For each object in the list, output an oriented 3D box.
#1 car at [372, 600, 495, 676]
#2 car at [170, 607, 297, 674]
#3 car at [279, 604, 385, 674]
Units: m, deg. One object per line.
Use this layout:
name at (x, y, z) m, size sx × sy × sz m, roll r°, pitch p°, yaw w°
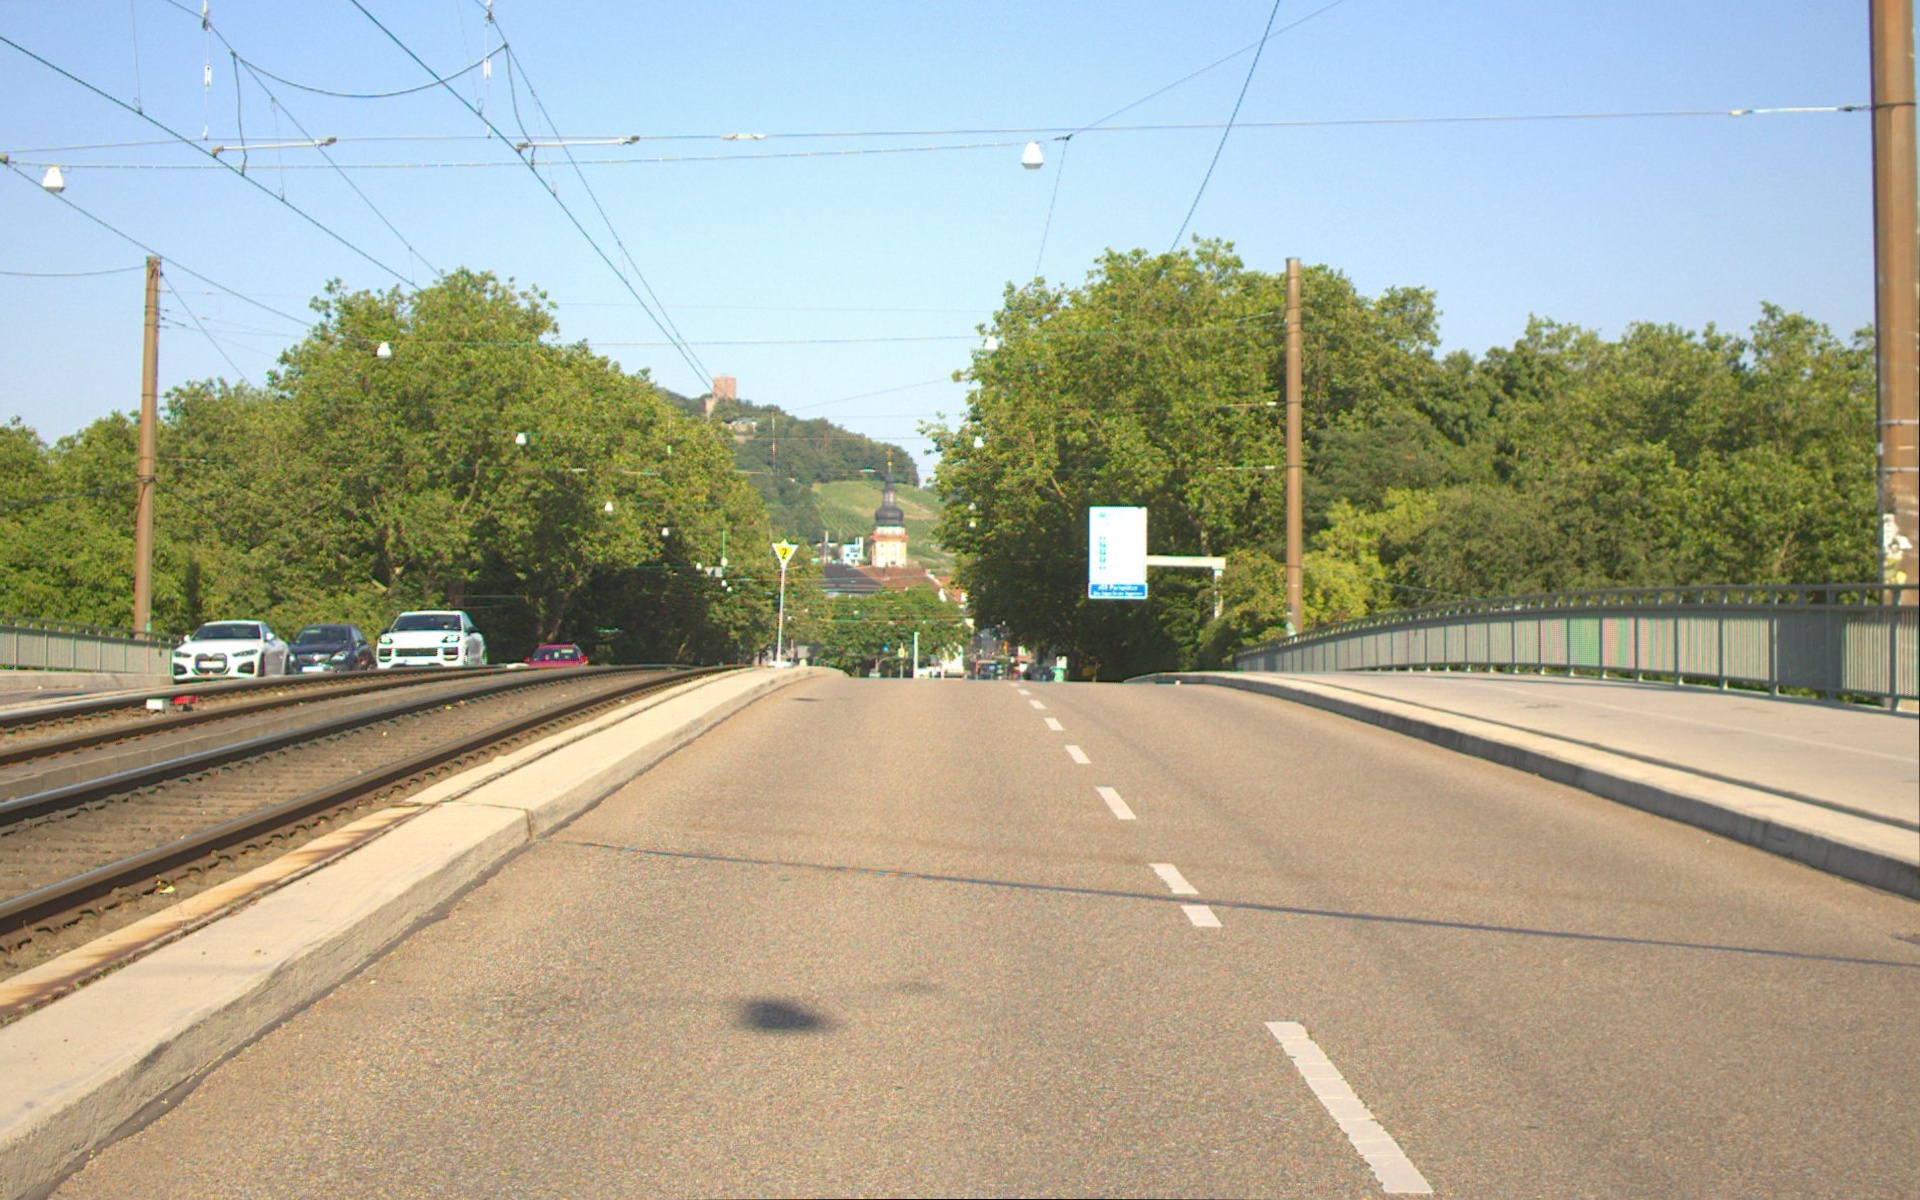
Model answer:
car at (-11.816, 0.836, 77.471) m, size 2.001 × 1.631 × 5.090 m, roll 1°, pitch 0°, yaw 0°
car at (-15.336, 0.839, 72.788) m, size 1.684 × 1.352 × 4.920 m, roll 1°, pitch 0°, yaw 0°
car at (-15.354, 0.941, 84.233) m, size 1.779 × 1.645 × 4.447 m, roll 1°, pitch 0°, yaw 0°
